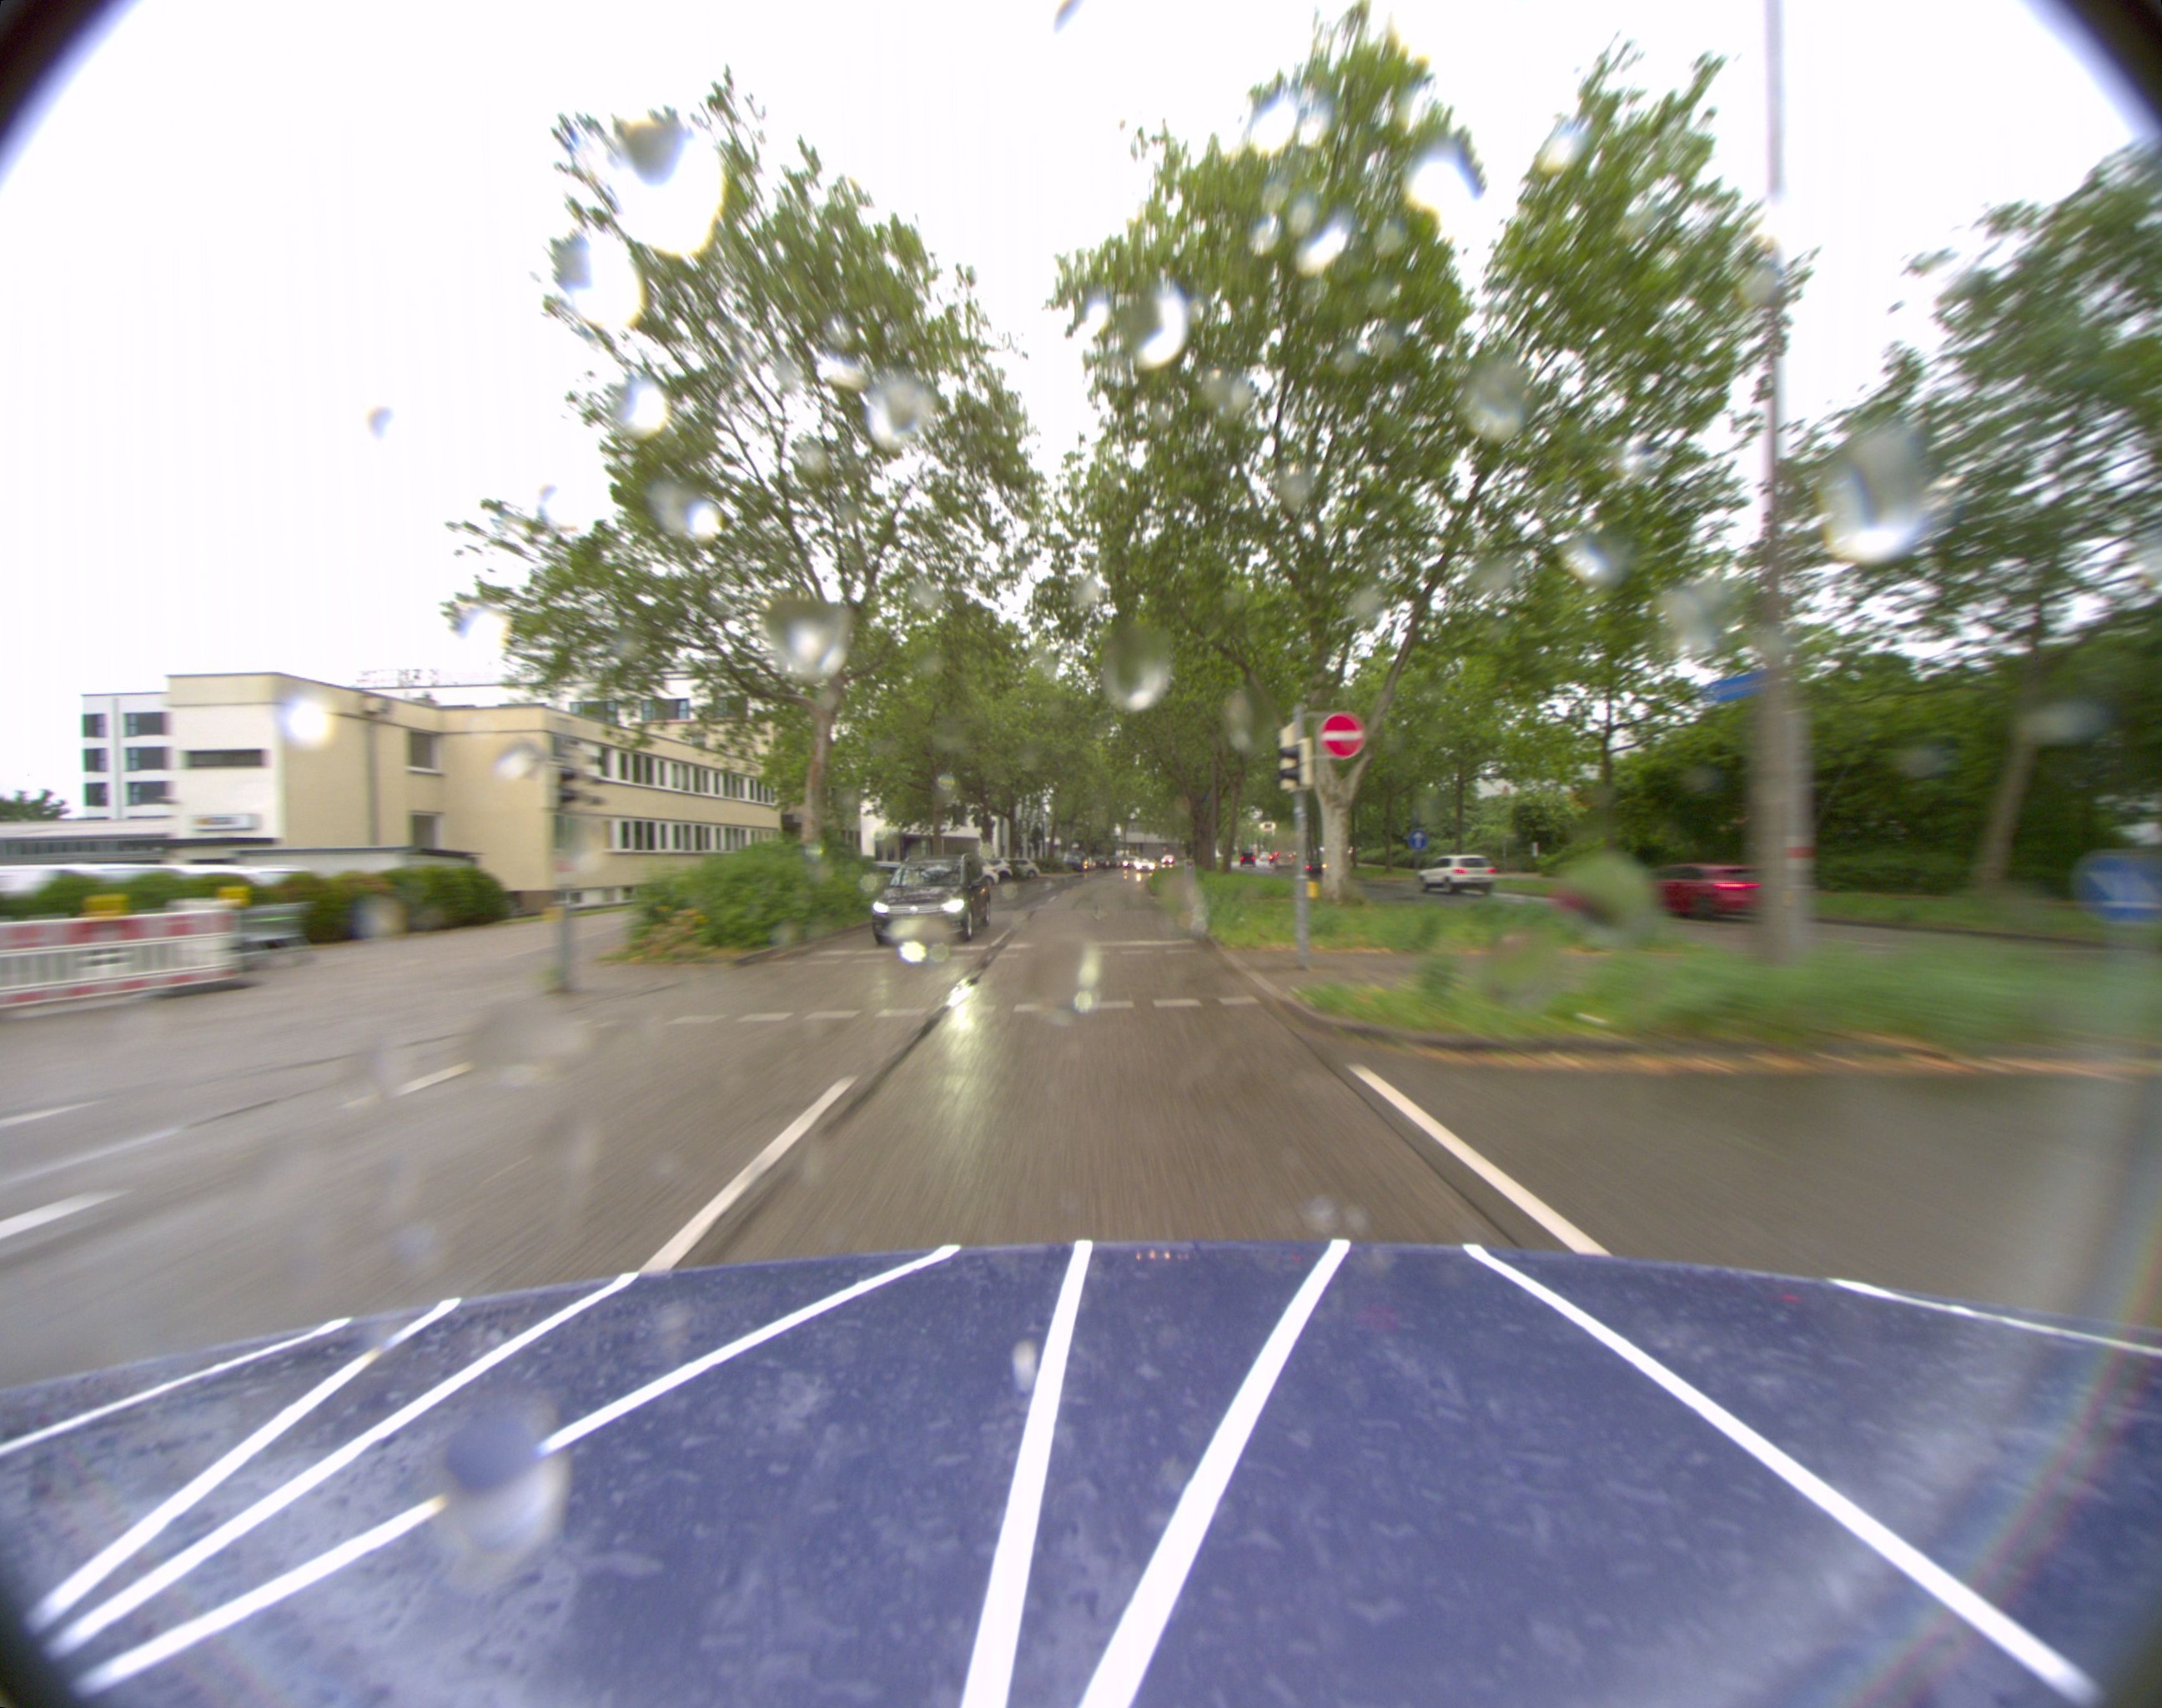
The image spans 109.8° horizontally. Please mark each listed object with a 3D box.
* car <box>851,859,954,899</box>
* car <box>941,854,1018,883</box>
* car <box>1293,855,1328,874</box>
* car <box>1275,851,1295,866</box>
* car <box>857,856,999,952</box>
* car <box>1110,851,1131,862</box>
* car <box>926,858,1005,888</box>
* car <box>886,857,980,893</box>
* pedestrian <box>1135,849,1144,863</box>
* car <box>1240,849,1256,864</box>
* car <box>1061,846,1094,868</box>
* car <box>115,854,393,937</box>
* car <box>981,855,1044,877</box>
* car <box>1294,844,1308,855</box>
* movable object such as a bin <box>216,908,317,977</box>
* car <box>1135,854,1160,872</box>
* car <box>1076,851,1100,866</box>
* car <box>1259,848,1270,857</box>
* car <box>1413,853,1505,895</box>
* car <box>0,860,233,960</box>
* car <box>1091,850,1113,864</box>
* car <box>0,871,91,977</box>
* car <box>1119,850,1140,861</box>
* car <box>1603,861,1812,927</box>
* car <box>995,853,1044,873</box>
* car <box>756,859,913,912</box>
[{"bbox_3d":[-7.067,0.966,30.058,3.697,1.408,1.745,-1,1,-24],"label":"car"},{"bbox_3d":[-5.878,0.817,44.046,4.043,1.530,1.745,-1,1,-25],"label":"car"},{"bbox_3d":[18.416,0.851,61.092,1.747,1.430,4.446,-1,-1,4],"label":"car"},{"bbox_3d":[22.290,0.480,83.049,1.746,1.468,4.237,-1,1,9],"label":"car"},{"bbox_3d":[-3.036,0.903,16.385,1.999,1.585,5.588,-2,1,-1],"label":"car"},{"bbox_3d":[5.220,0.330,99.939,1.746,1.420,5.108,-1,1,13],"label":"car"},{"bbox_3d":[-5.891,0.931,38.814,3.696,1.408,1.746,-1,1,-20],"label":"car"},{"bbox_3d":[-6.478,0.885,33.291,3.697,1.408,1.772,-1,1,-24],"label":"car"},{"bbox_3d":[8.375,0.319,108.408,0.900,2.002,0.832,-1,1,-22],"label":"pedestrian"},{"bbox_3d":[22.071,0.312,100.143,1.745,1.831,5.126,-1,1,15],"label":"car"},{"bbox_3d":[-0.293,0.283,74.562,2.124,2.016,5.532,-1,1,11],"label":"car"},{"bbox_3d":[-18.956,0.921,17.550,4.548,1.747,1.749,-1,1,2],"label":"car"},{"bbox_3d":[-4.801,0.838,53.220,4.043,1.420,1.745,-1,1,-24],"label":"car"},{"bbox_3d":[48.301,-1.032,166.842,2.031,2.213,5.443,-1,1,25],"label":"car"},{"bbox_3d":[-12.905,1.383,12.046,1.072,0.964,0.713,-1,2,23],"label":"movable object such as a bin"},{"bbox_3d":[6.604,0.825,74.869,1.997,1.620,4.525,-1,1,10],"label":"car"},{"bbox_3d":[0.779,0.493,80.681,1.746,1.460,4.309,-1,1,11],"label":"car"},{"bbox_3d":[34.548,-0.321,142.948,1.746,1.582,4.333,-1,1,10],"label":"car"},{"bbox_3d":[16.284,0.808,33.028,1.748,1.622,4.443,-1,1,-1],"label":"car"},{"bbox_3d":[-19.614,1.041,14.598,4.549,1.747,1.780,-1,1,-1],"label":"car"},{"bbox_3d":[2.466,0.292,87.080,1.746,1.557,4.375,-1,1,11],"label":"car"},{"bbox_3d":[-18.840,1.133,12.148,4.299,1.581,1.827,-1,2,10],"label":"car"},{"bbox_3d":[6.835,0.259,106.358,1.745,1.420,4.865,2,1,17],"label":"car"},{"bbox_3d":[15.979,0.948,19.760,1.748,1.400,4.443,-1,1,-1],"label":"car"},{"bbox_3d":[-4.689,0.704,57.711,3.646,1.495,1.748,0,0,-8],"label":"car"},{"bbox_3d":[-7.697,0.922,23.887,4.500,1.450,1.746,-1,1,-20],"label":"car"}]
